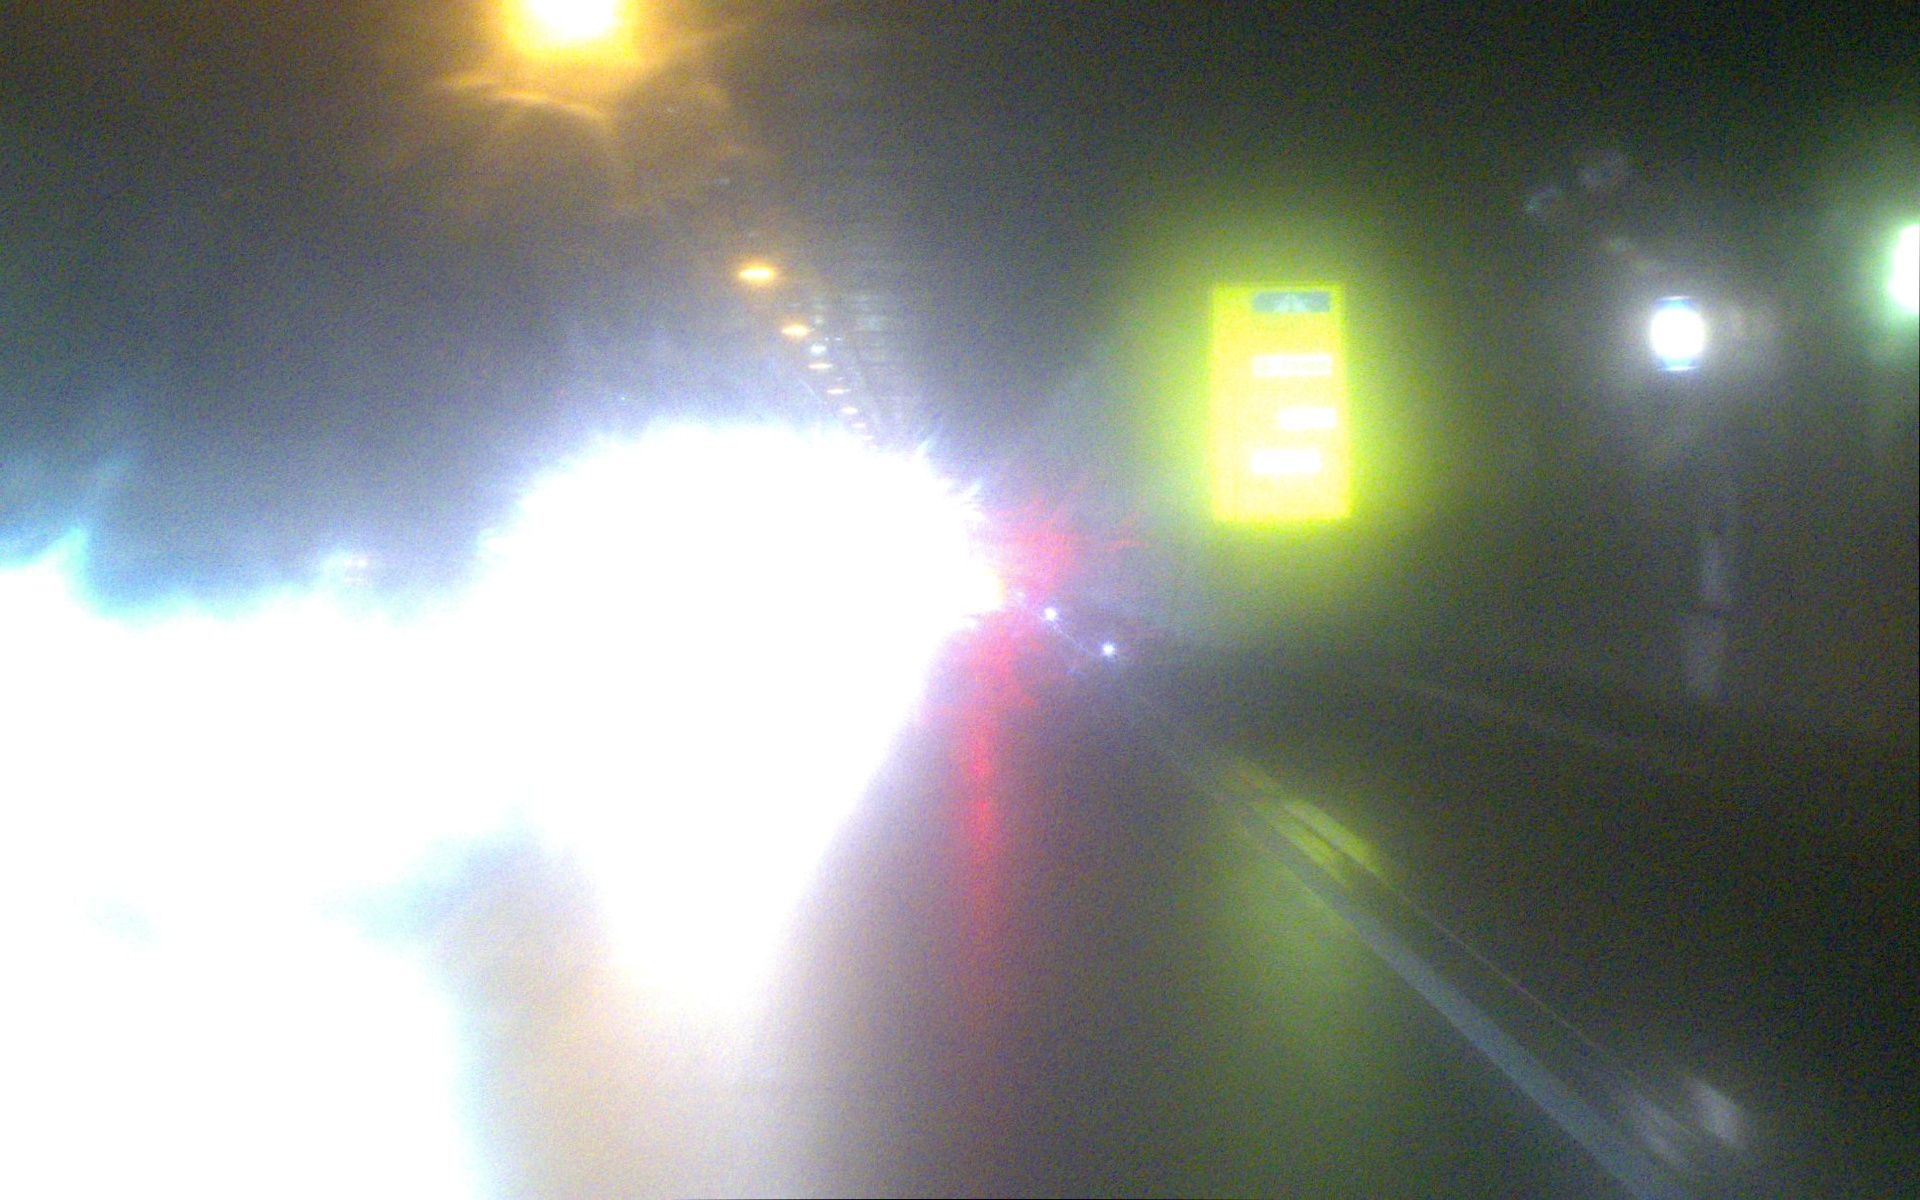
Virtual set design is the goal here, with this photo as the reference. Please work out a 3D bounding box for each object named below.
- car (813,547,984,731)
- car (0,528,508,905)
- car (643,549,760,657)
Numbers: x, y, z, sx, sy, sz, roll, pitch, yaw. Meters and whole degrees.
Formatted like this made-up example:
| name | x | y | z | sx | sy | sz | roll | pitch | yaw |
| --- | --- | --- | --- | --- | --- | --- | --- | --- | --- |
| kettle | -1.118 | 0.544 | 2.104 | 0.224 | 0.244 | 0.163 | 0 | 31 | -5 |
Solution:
| name | x | y | z | sx | sy | sz | roll | pitch | yaw |
| --- | --- | --- | --- | --- | --- | --- | --- | --- | --- |
| car | -0.595 | 0.346 | 35.247 | 1.635 | 1.752 | 4.146 | 1 | 1 | 0 |
| car | -3.247 | 0.418 | 15.814 | 1.748 | 1.475 | 4.476 | 1 | 1 | 0 |
| car | -4.003 | 0.015 | 53.640 | 1.520 | 1.544 | 4.054 | 1 | 2 | 0 |
